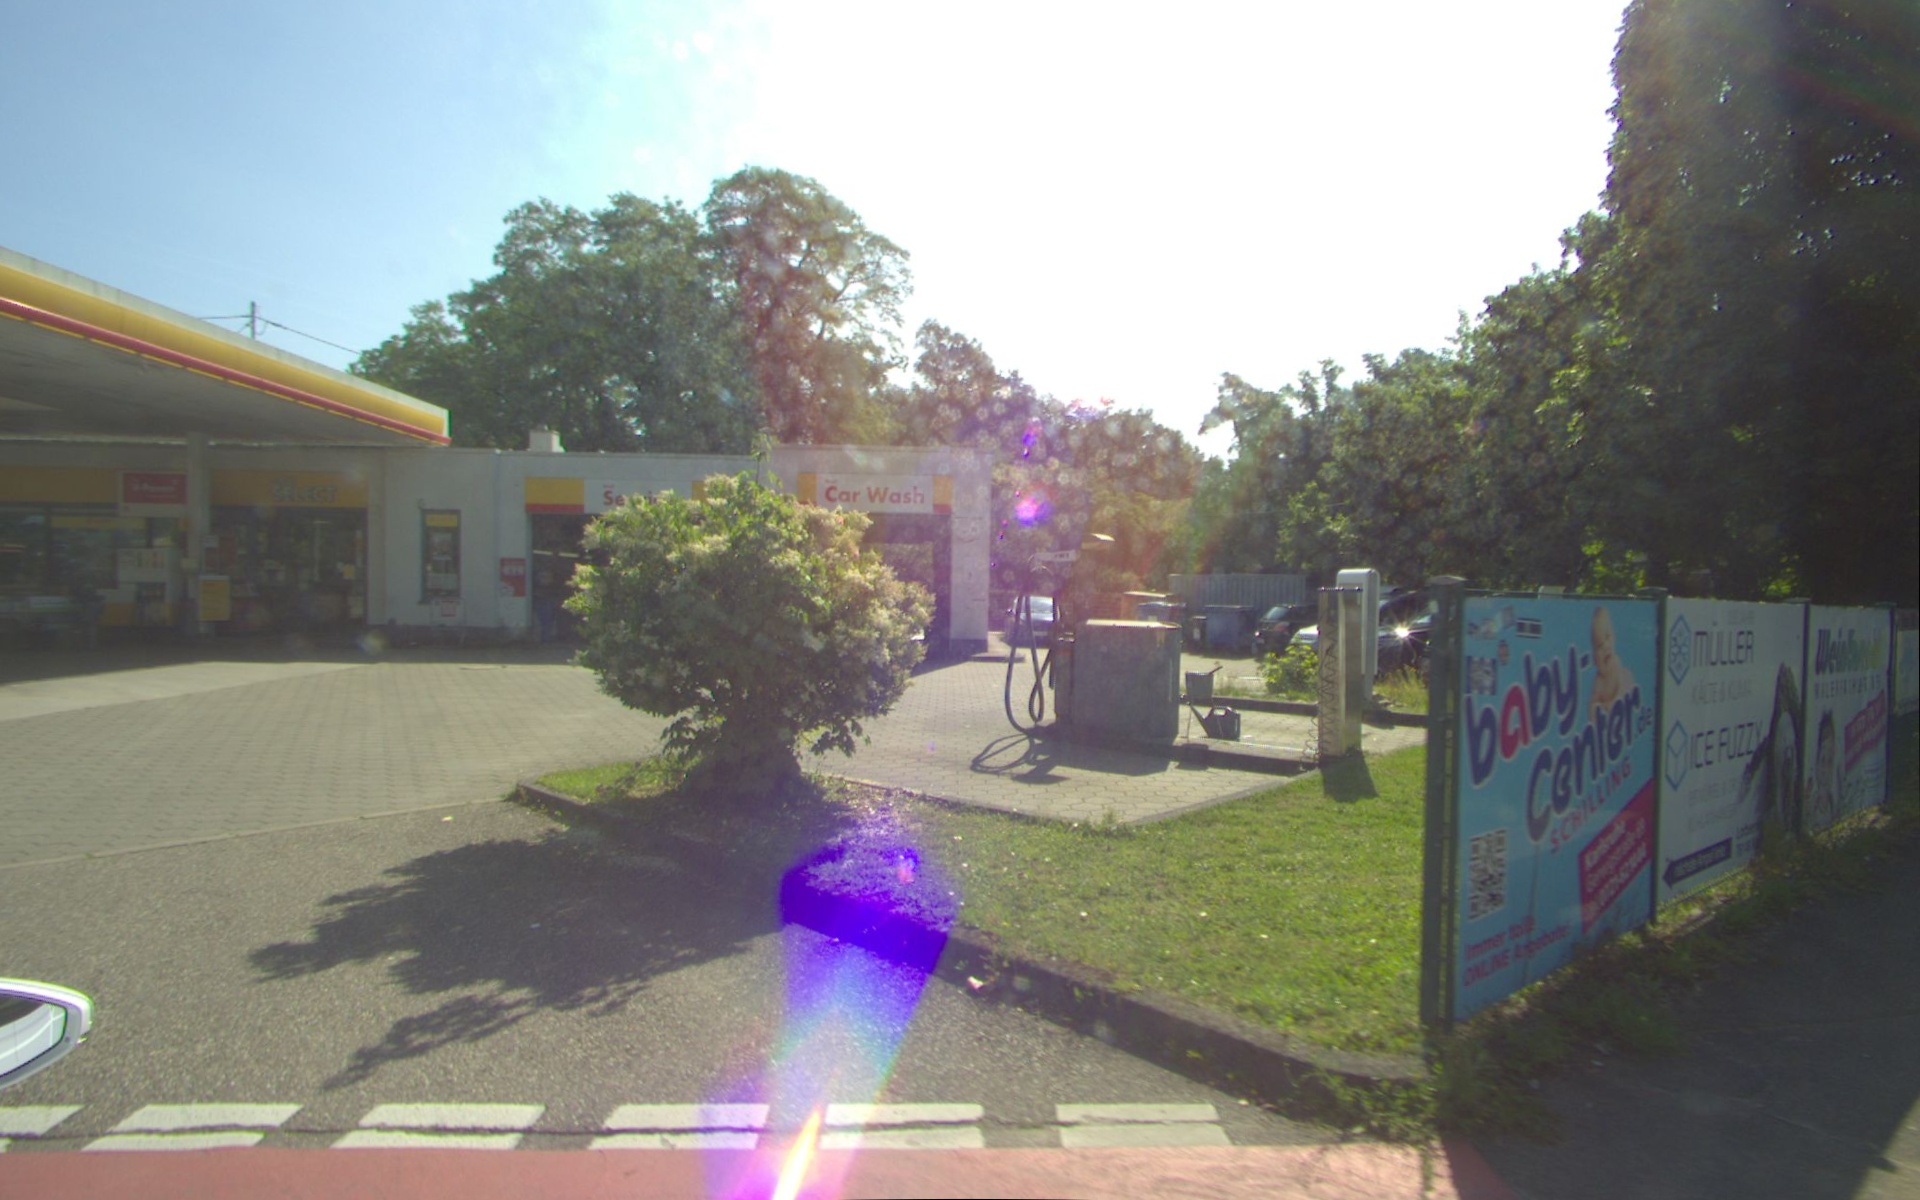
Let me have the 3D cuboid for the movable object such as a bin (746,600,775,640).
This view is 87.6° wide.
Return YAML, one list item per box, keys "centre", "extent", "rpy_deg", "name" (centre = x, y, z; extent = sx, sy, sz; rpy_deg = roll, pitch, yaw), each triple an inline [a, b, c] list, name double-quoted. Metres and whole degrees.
- centre: [-6.245, 0.632, 31.342]
  extent: [0.784, 1.252, 0.544]
  rpy_deg: [1, -1, 1]
  name: "movable object such as a bin"

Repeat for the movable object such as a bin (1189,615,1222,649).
- centre: [6.901, 0.893, 28.128]
  extent: [0.856, 0.922, 0.489]
  rpy_deg: [0, 1, -40]
  name: "movable object such as a bin"

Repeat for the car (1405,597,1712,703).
- centre: [9.410, 0.760, 15.933]
  extent: [3.863, 1.531, 1.683]
  rpy_deg: [1, 1, -3]
  name: "car"

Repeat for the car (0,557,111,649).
- centre: [-19.703, 0.040, 20.047]
  extent: [3.922, 1.751, 1.833]
  rpy_deg: [1, 1, 3]
  name: "car"

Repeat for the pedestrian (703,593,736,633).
- centre: [-7.426, 0.419, 30.926]
  extent: [0.849, 1.213, 0.743]
  rpy_deg: [1, -1, -2]
  name: "pedestrian"

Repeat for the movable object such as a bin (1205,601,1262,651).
- centre: [7.485, 0.707, 27.403]
  extent: [0.856, 1.307, 1.225]
  rpy_deg: [0, 1, -39]
  name: "movable object such as a bin"

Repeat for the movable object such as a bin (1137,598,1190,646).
- centre: [5.890, 0.616, 29.027]
  extent: [1.221, 1.343, 0.842]
  rpy_deg: [2, 1, 43]
  name: "movable object such as a bin"

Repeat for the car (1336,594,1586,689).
- centre: [9.376, 0.759, 18.941]
  extent: [3.863, 1.650, 1.683]
  rpy_deg: [1, 0, -3]
  name: "car"

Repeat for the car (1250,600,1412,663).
- centre: [9.337, 0.771, 25.400]
  extent: [3.442, 1.458, 1.682]
  rpy_deg: [1, 3, 0]
  name: "car"

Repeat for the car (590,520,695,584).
- centre: [-8.903, -1.305, 28.379]
  extent: [1.620, 1.505, 4.001]
  rpy_deg: [1, -1, 1]
  name: "car"

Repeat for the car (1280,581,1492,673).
- centre: [9.198, 0.556, 21.795]
  extent: [3.863, 1.817, 1.683]
  rpy_deg: [-2, 1, -3]
  name: "car"

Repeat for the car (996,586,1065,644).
- centre: [2.030, 0.472, 29.581]
  extent: [1.693, 1.595, 3.393]
  rpy_deg: [1, -1, -2]
  name: "car"

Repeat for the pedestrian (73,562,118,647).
- centre: [-17.506, 0.087, 20.278]
  extent: [0.491, 1.691, 0.475]
  rpy_deg: [1, 1, 1]
  name: "pedestrian"
